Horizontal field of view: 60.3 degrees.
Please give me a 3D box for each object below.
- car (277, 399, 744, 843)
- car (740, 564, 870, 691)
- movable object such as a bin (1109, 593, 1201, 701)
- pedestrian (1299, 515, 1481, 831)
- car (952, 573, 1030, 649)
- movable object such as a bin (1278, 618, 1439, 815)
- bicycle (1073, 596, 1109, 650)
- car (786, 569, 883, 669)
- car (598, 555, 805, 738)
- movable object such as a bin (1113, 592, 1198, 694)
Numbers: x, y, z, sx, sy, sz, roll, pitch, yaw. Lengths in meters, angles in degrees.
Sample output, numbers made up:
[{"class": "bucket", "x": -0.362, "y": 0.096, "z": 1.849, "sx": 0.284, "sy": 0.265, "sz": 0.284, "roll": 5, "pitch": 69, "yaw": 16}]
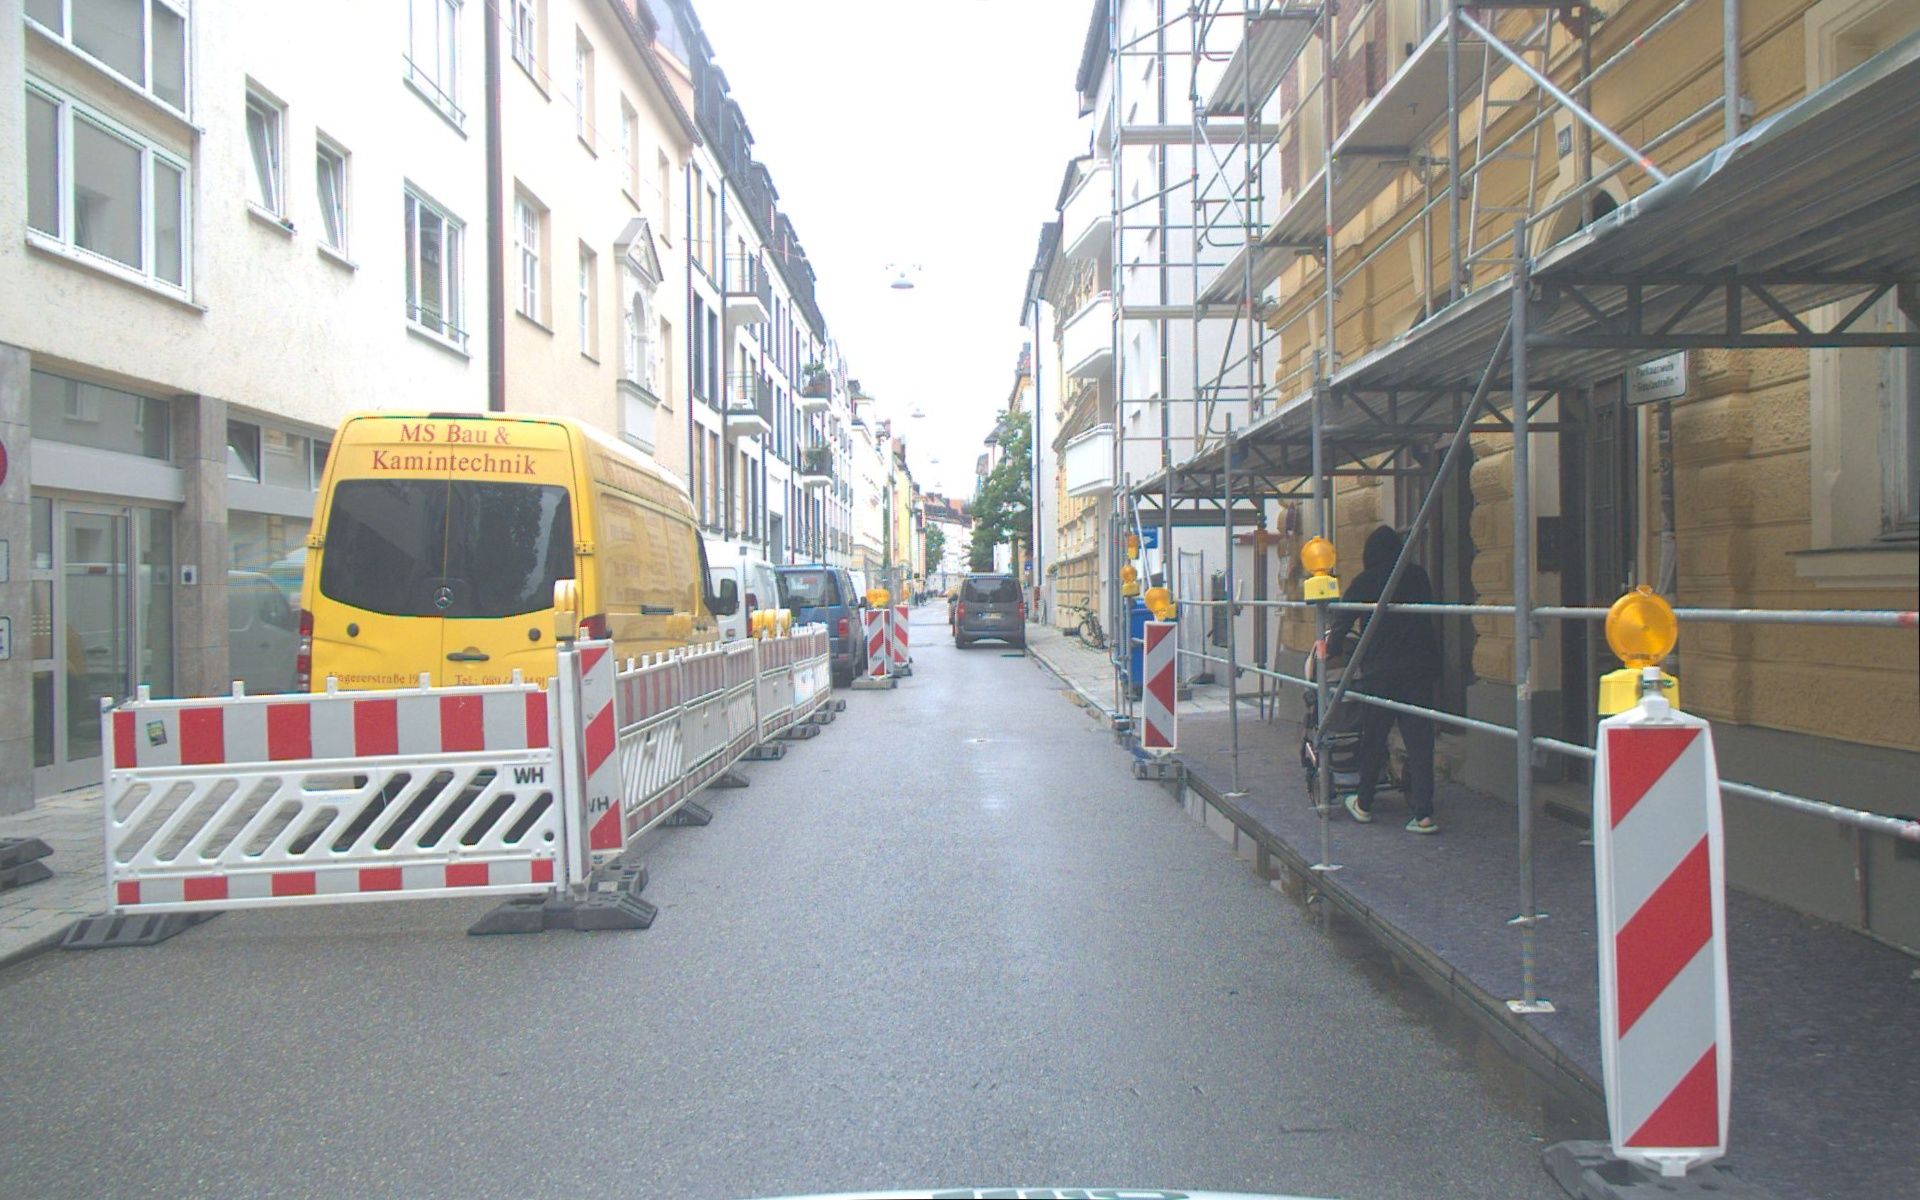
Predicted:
[{"class": "car", "x": -3.144, "y": 0.110, "z": 13.324, "sx": 1.953, "sy": 2.624, "sz": 6.735, "roll": -1, "pitch": 0, "yaw": -1}, {"class": "car", "x": -2.600, "y": 0.435, "z": 28.909, "sx": 1.692, "sy": 1.930, "sz": 5.508, "roll": -3, "pitch": 0, "yaw": 0}, {"class": "movable object such as a bin", "x": 2.722, "y": 0.639, "z": 22.984, "sx": 1.063, "sy": 1.369, "sz": 1.319, "roll": -4, "pitch": 0, "yaw": 12}, {"class": "pedestrian", "x": 2.596, "y": 0.421, "z": 10.091, "sx": 0.715, "sy": 1.783, "sz": 0.988, "roll": -4, "pitch": 0, "yaw": -1}, {"class": "car", "x": 0.795, "y": 0.266, "z": 45.284, "sx": 1.953, "sy": 1.965, "sz": 4.659, "roll": 0, "pitch": 0, "yaw": -1}, {"class": "movable object such as a bin", "x": 2.597, "y": 0.737, "z": 10.873, "sx": 0.715, "sy": 1.160, "sz": 0.988, "roll": -5, "pitch": 0, "yaw": -1}, {"class": "bicycle", "x": 3.032, "y": 0.519, "z": 38.500, "sx": 0.625, "sy": 1.173, "sz": 1.915, "roll": -3, "pitch": 1, "yaw": 0}, {"class": "car", "x": -2.616, "y": 0.381, "z": 34.962, "sx": 1.867, "sy": 1.930, "sz": 5.085, "roll": -1, "pitch": 0, "yaw": -3}, {"class": "car", "x": -3.080, "y": 0.510, "z": 20.709, "sx": 1.878, "sy": 1.930, "sz": 4.789, "roll": -3, "pitch": 0, "yaw": -2}, {"class": "movable object such as a bin", "x": 2.873, "y": 0.615, "z": 24.223, "sx": 1.102, "sy": 1.369, "sz": 1.172, "roll": -5, "pitch": 0, "yaw": 8}]
